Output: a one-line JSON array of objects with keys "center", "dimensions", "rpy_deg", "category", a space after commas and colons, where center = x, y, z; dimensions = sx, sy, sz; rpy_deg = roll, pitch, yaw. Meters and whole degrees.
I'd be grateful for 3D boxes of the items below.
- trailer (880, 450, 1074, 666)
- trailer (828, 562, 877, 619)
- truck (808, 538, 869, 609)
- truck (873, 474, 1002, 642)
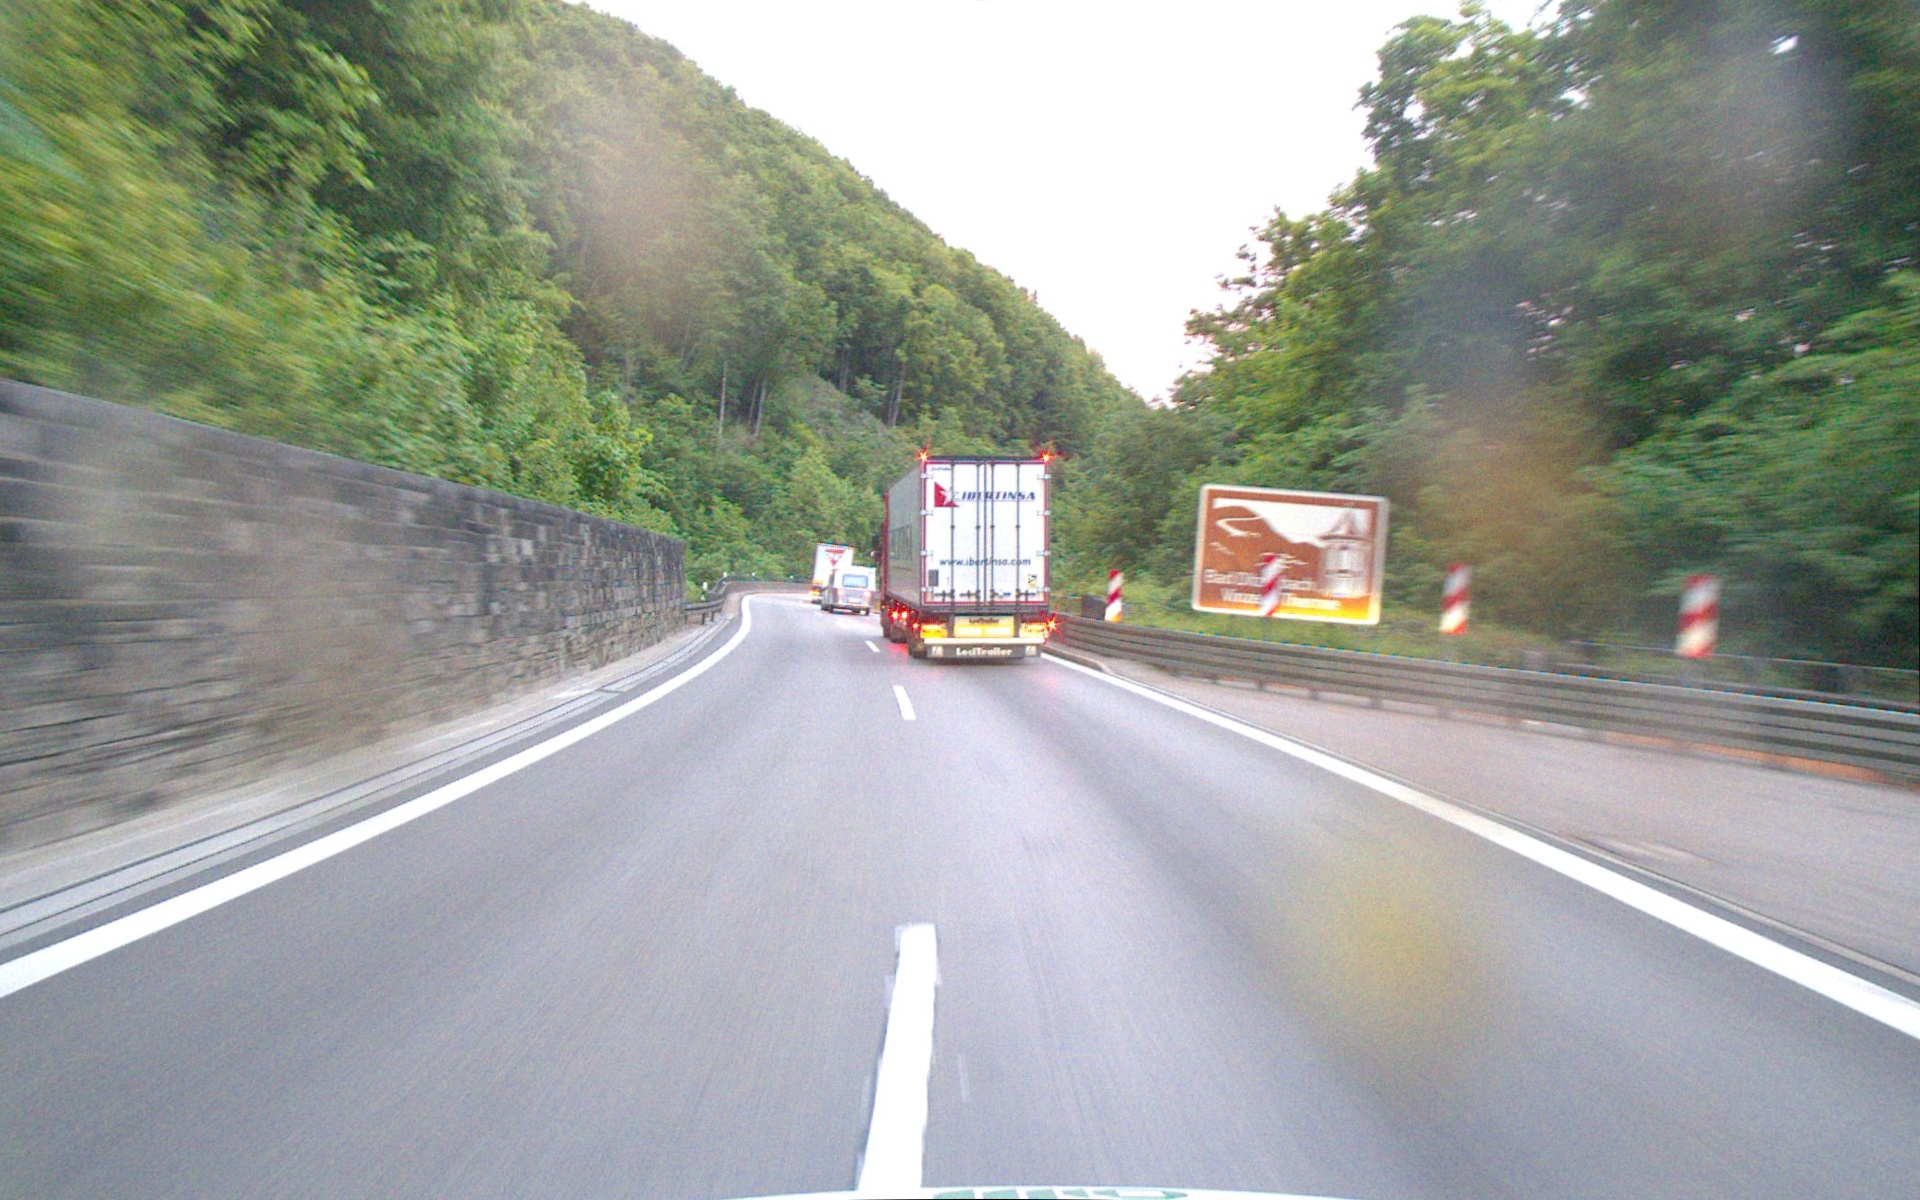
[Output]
[{"center": [-0.016, -1.016, 38.265], "dimensions": [3.037, 4.039, 14.204], "rpy_deg": [0, 2, -5], "category": "trailer"}, {"center": [-5.223, -0.514, 80.316], "dimensions": [2.015, 2.414, 5.935], "rpy_deg": [7, 1, -4], "category": "trailer"}, {"center": [-8.314, -1.682, 115.506], "dimensions": [3.228, 4.246, 16.496], "rpy_deg": [3, -1, -1], "category": "truck"}, {"center": [-0.725, -1.153, 44.725], "dimensions": [3.009, 4.216, 6.441], "rpy_deg": [0, 2, -5], "category": "truck"}]
